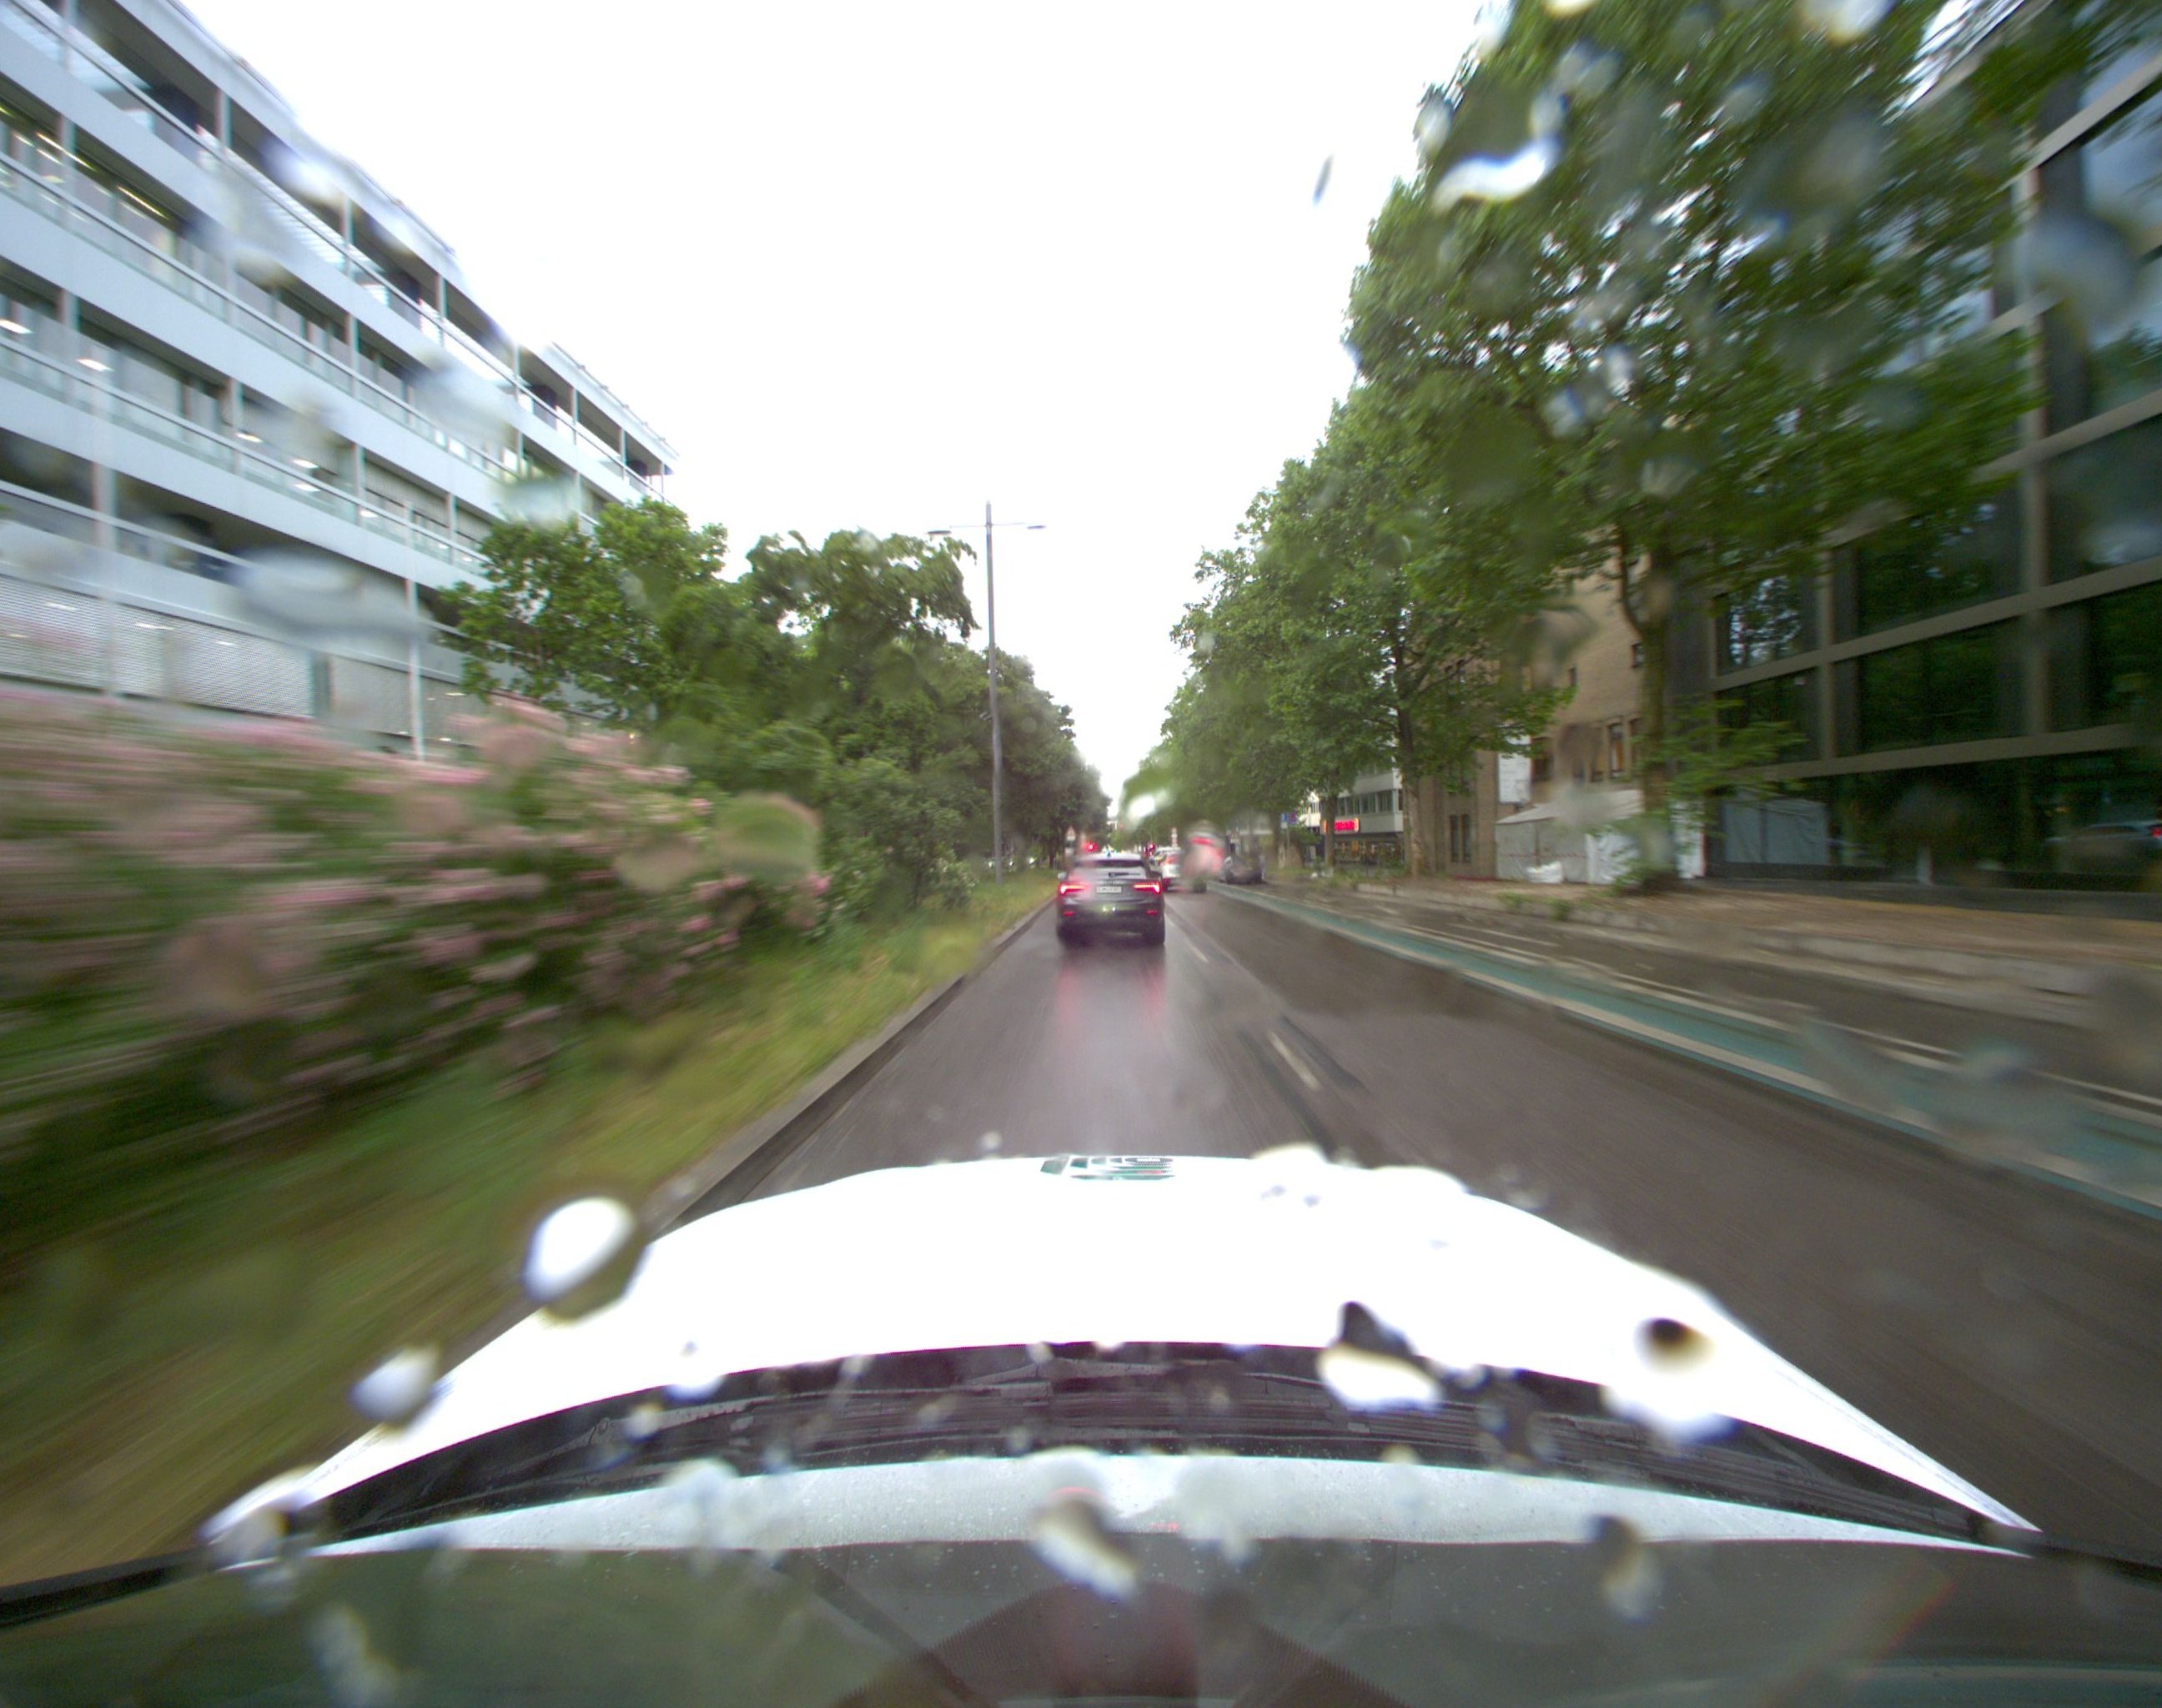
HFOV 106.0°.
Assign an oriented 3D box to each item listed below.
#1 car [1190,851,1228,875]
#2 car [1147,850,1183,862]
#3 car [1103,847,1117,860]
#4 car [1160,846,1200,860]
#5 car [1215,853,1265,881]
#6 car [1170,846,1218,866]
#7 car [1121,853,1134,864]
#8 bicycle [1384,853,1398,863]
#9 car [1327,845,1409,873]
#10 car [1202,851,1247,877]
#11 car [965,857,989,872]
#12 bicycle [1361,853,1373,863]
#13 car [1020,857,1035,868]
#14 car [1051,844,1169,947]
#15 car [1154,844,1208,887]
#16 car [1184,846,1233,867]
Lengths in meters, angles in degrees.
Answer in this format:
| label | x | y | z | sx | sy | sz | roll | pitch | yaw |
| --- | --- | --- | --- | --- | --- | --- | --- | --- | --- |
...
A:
| label | x | y | z | sx | sy | sz | roll | pitch | yaw |
| --- | --- | --- | --- | --- | --- | --- | --- | --- | --- |
| car | 8.413 | 0.590 | 53.828 | 1.723 | 1.571 | 4.069 | 0 | -1 | -3 |
| car | 11.912 | 0.264 | 115.170 | 4.594 | 1.706 | 2.012 | 0 | -1 | 29 |
| car | 4.184 | -0.069 | 117.187 | 1.986 | 1.726 | 4.000 | 0 | -1 | 1 |
| car | 12.278 | -0.071 | 101.175 | 4.594 | 1.706 | 2.012 | 0 | -1 | 29 |
| car | 8.367 | 0.654 | 43.095 | 1.866 | 1.421 | 4.612 | 0 | 0 | 1 |
| car | 11.663 | 0.269 | 84.019 | 4.548 | 2.014 | 1.980 | 0 | -1 | 40 |
| car | 7.142 | 0.736 | 125.586 | 1.986 | 1.651 | 4.001 | 0 | -1 | 2 |
| bicycle | 25.834 | 0.332 | 67.894 | 0.446 | 0.836 | 2.027 | 0 | -1 | 2 |
| car | 11.550 | 0.203 | 32.828 | 2.856 | 1.074 | 1.465 | 0 | -1 | 32 |
| car | 8.577 | 0.607 | 49.001 | 1.861 | 1.520 | 4.558 | 0 | -1 | 0 |
| car | -10.311 | 1.049 | 80.772 | 1.642 | 1.435 | 3.814 | -1 | -1 | 3 |
| bicycle | 25.814 | 0.385 | 73.541 | 0.446 | 0.836 | 2.027 | 0 | -1 | 2 |
| car | -8.253 | 1.335 | 126.866 | 1.753 | 1.703 | 4.337 | 0 | -1 | 4 |
| car | 0.489 | 0.663 | 14.870 | 1.843 | 1.602 | 4.000 | -1 | 0 | 1 |
| car | 4.089 | 0.477 | 33.782 | 1.871 | 1.697 | 4.001 | 0 | -1 | 2 |
| car | 13.945 | 0.237 | 89.079 | 4.834 | 2.254 | 2.012 | 0 | -1 | 30 |
